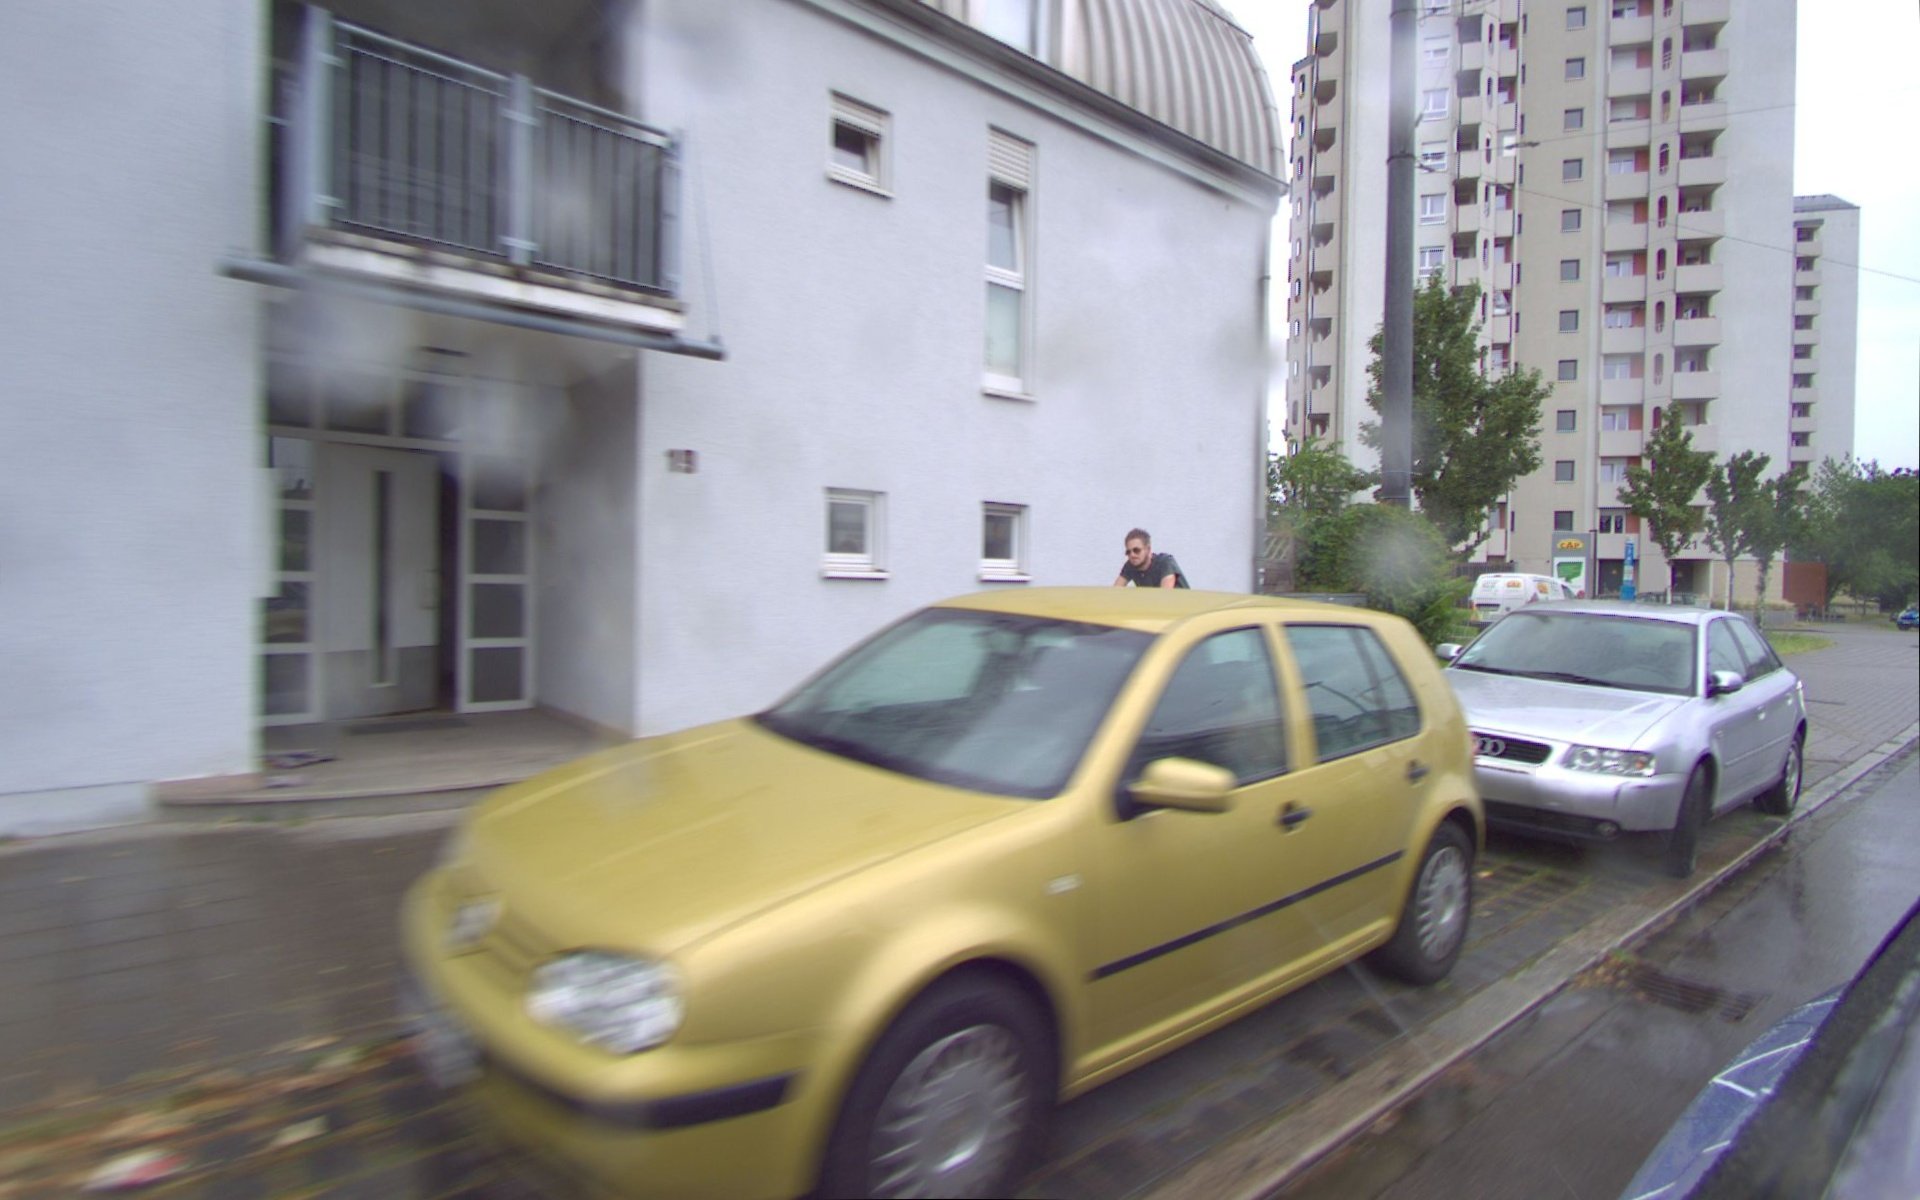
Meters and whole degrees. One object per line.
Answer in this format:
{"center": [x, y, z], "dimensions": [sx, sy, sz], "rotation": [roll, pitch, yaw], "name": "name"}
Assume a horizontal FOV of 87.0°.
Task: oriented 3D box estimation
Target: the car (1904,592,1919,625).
{"center": [47.092, 0.443, 48.241], "dimensions": [2.522, 1.567, 1.600], "rotation": [1, 1, 8], "name": "car"}

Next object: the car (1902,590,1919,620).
{"center": [53.763, 0.403, 54.468], "dimensions": [4.116, 1.567, 1.762], "rotation": [4, 2, 8], "name": "car"}

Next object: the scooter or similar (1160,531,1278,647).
{"center": [2.592, -0.115, 10.069], "dimensions": [1.369, 1.098, 0.334], "rotation": [-1, 1, -36], "name": "scooter or similar"}

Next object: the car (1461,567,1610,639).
{"center": [15.838, 0.094, 27.753], "dimensions": [4.809, 1.806, 1.967], "rotation": [1, 0, -40], "name": "car"}

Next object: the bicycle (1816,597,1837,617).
{"center": [47.361, 0.374, 55.305], "dimensions": [2.023, 1.018, 0.662], "rotation": [-1, 1, -42], "name": "bicycle"}

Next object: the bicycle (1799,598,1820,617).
{"center": [46.885, 0.405, 55.837], "dimensions": [2.023, 1.018, 0.662], "rotation": [-1, 1, -42], "name": "bicycle"}

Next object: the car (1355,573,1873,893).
{"center": [4.664, 0.584, 6.898], "dimensions": [4.568, 1.422, 1.654], "rotation": [-1, 5, -40], "name": "car"}

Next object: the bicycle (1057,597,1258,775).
{"center": [1.490, 0.548, 7.365], "dimensions": [0.536, 1.107, 1.919], "rotation": [0, 1, 42], "name": "bicycle"}

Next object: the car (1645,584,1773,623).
{"center": [32.476, 0.149, 43.992], "dimensions": [4.058, 1.637, 1.804], "rotation": [0, -1, 18], "name": "car"}

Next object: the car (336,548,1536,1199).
{"center": [0.200, 0.608, 3.424], "dimensions": [3.727, 1.422, 1.811], "rotation": [-1, 5, -40], "name": "car"}

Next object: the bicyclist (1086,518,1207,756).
{"center": [1.331, 0.235, 7.182], "dimensions": [0.533, 1.579, 0.761], "rotation": [0, 0, 41], "name": "bicyclist"}

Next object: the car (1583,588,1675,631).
{"center": [24.740, 0.307, 37.578], "dimensions": [1.975, 1.459, 3.974], "rotation": [0, 1, 20], "name": "car"}

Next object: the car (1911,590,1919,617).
{"center": [64.055, 0.377, 64.679], "dimensions": [4.390, 1.692, 1.808], "rotation": [4, 2, 10], "name": "car"}
